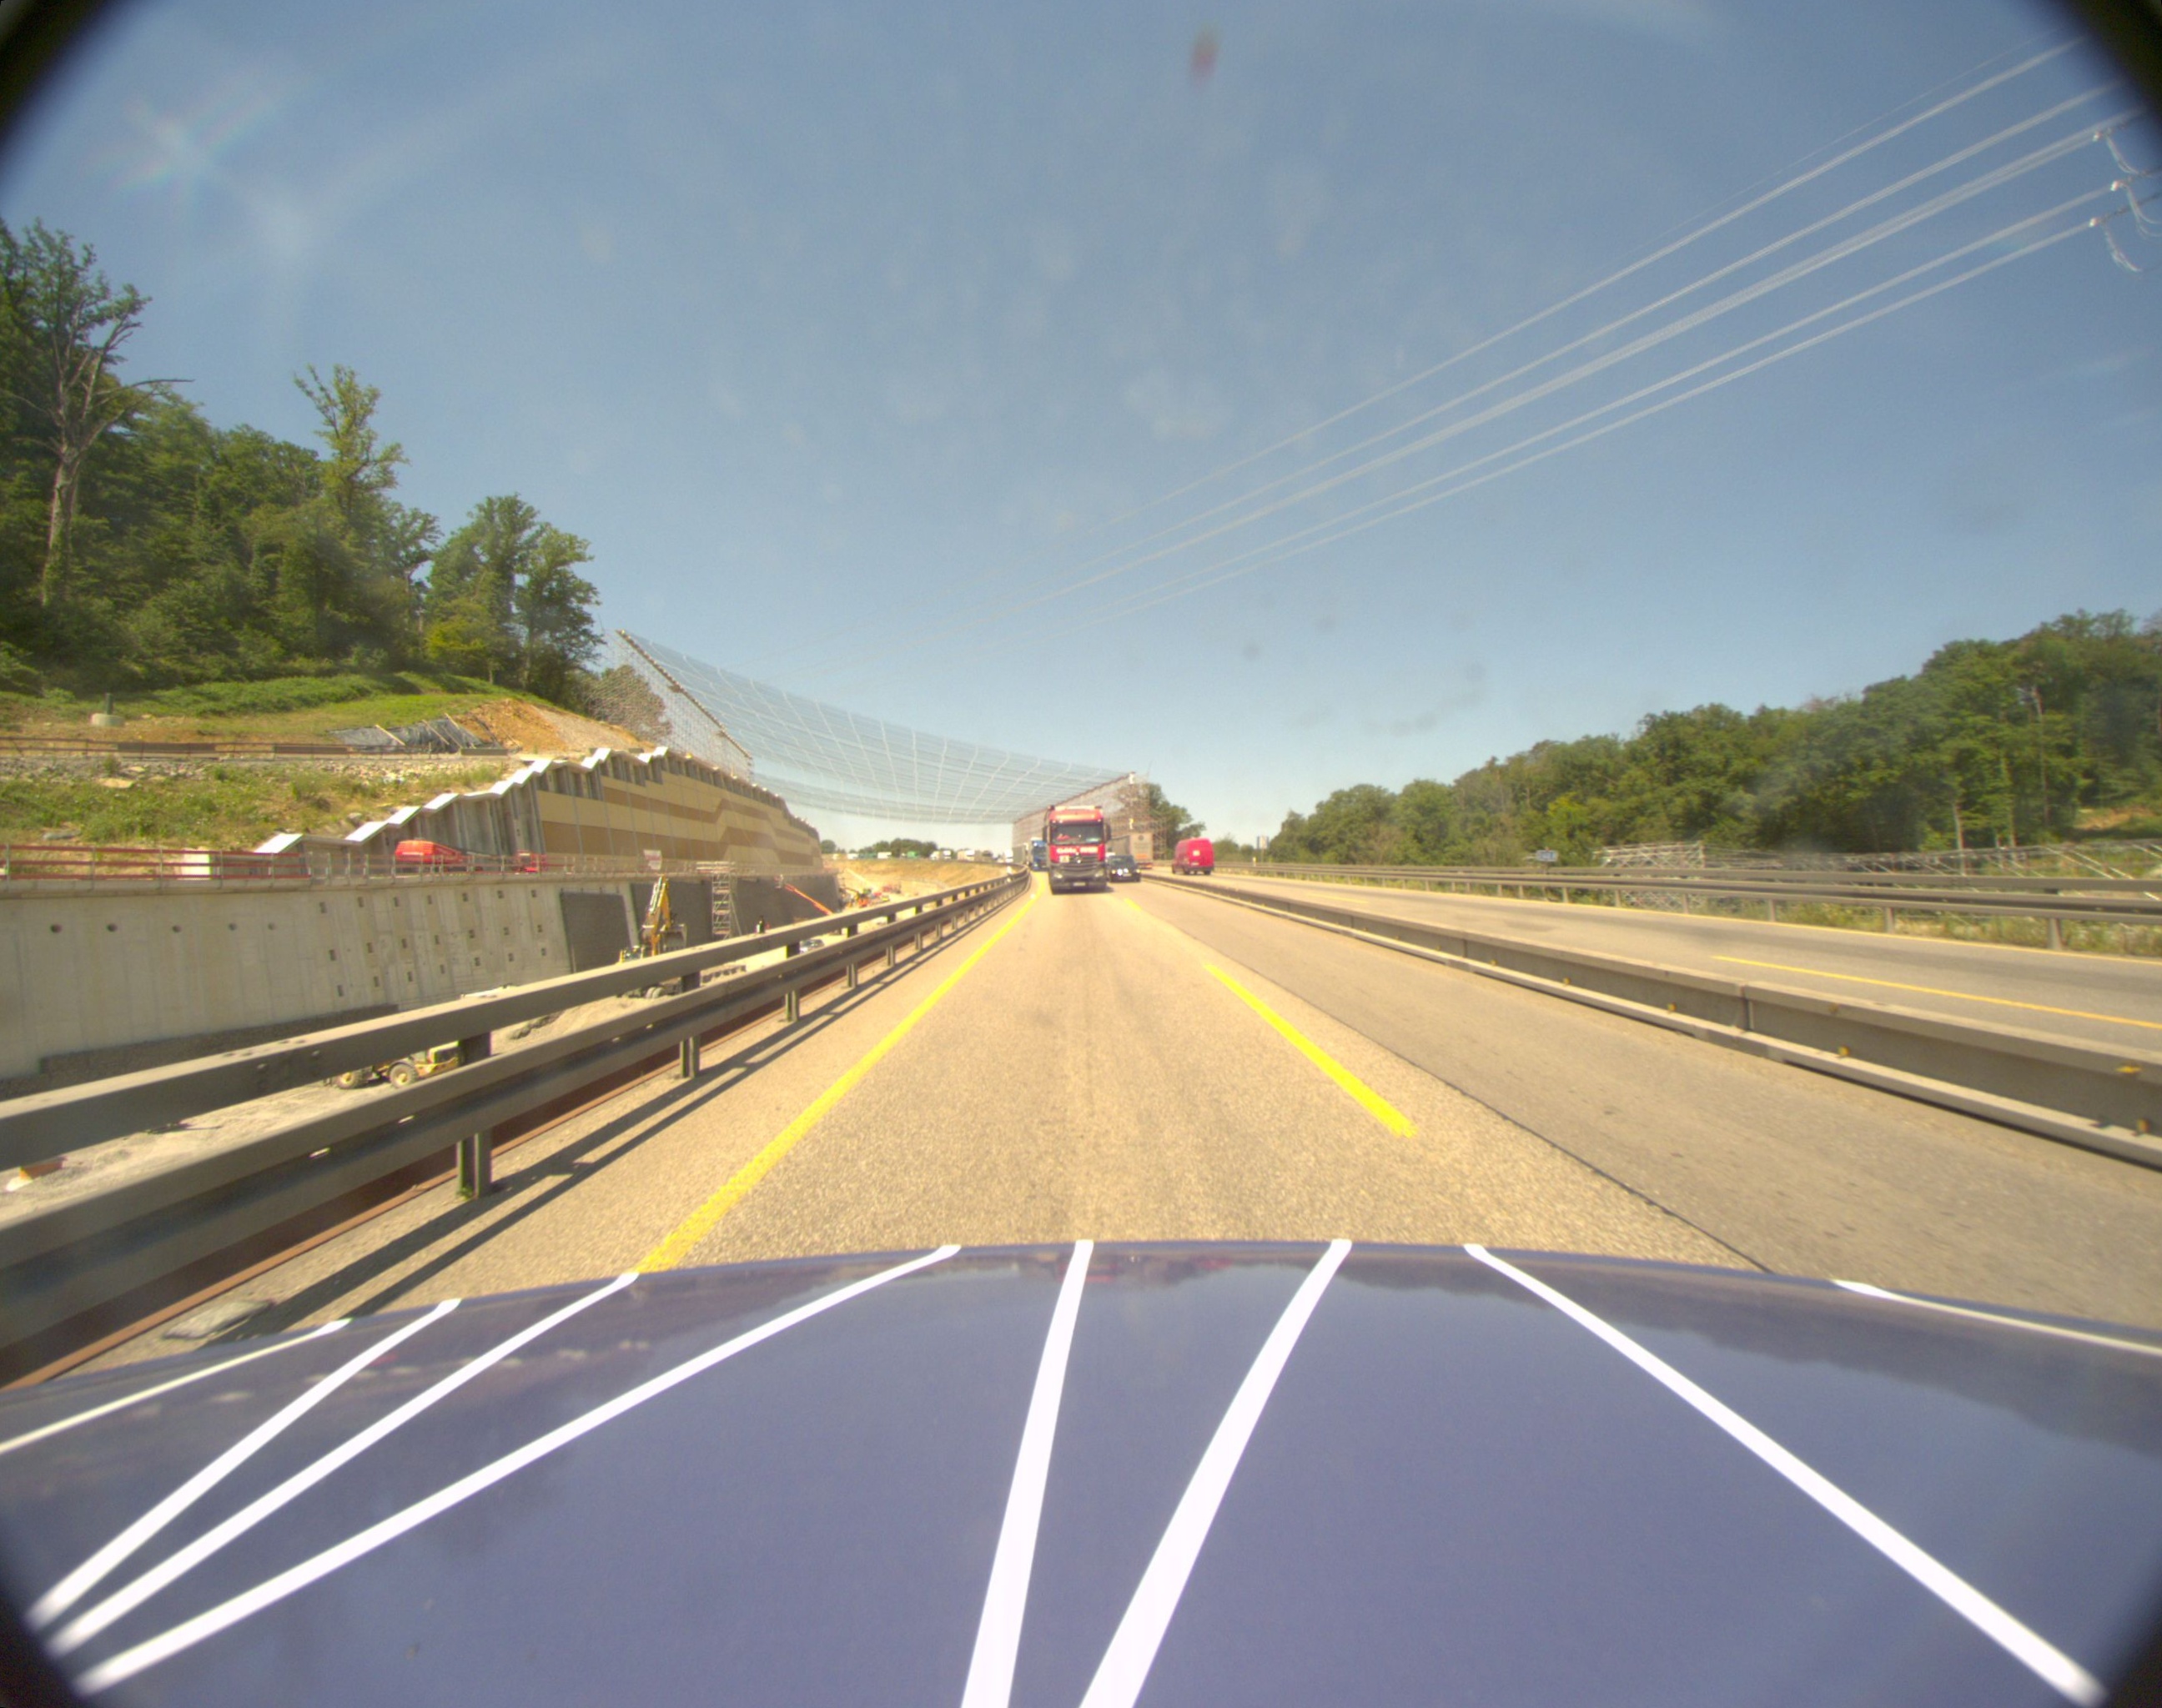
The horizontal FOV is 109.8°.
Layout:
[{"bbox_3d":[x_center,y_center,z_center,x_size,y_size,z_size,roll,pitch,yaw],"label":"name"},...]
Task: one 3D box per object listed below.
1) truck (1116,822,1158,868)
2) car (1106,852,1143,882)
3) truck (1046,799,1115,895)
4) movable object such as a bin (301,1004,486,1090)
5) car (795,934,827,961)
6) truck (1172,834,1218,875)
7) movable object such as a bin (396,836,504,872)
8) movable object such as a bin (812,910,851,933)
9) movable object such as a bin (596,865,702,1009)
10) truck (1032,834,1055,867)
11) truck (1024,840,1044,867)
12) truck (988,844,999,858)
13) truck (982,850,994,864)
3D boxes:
[{"bbox_3d":[6.460,-1.026,89.490,3.219,4.982,11.258,-2,1,-3],"label":"truck"},{"bbox_3d":[2.655,0.779,47.383,1.861,1.695,5.303,-2,-1,-1],"label":"car"},{"bbox_3d":[-0.086,-0.366,37.507,2.798,3.986,10.427,-2,1,-1],"label":"truck"},{"bbox_3d":[-25.902,7.249,28.755,5.118,2.577,2.060,-2,0,2],"label":"movable object such as a bin"},{"bbox_3d":[-26.298,9.065,74.081,1.999,2.002,3.997,-2,1,-6],"label":"car"},{"bbox_3d":[8.718,0.001,58.708,2.211,2.847,6.496,-2,1,-3],"label":"truck"},{"bbox_3d":[-38.353,-0.011,46.399,2.081,2.002,5.354,-2,1,0],"label":"movable object such as a bin"},{"bbox_3d":[-33.670,9.038,102.307,5.485,2.621,2.224,-2,1,38],"label":"movable object such as a bin"},{"bbox_3d":[-24.277,4.401,43.093,2.935,7.310,6.234,-2,1,-9],"label":"movable object such as a bin"},{"bbox_3d":[-4.878,-0.482,98.458,2.672,3.986,10.426,-2,1,-2],"label":"truck"},{"bbox_3d":[-7.815,-0.188,126.038,2.910,4.207,9.237,-2,1,-4],"label":"truck"},{"bbox_3d":[-28.208,-0.960,244.993,3.043,4.236,8.936,-2,1,-7],"label":"truck"},{"bbox_3d":[-27.170,0.785,222.670,3.042,4.033,8.670,-2,1,-5],"label":"truck"}]
